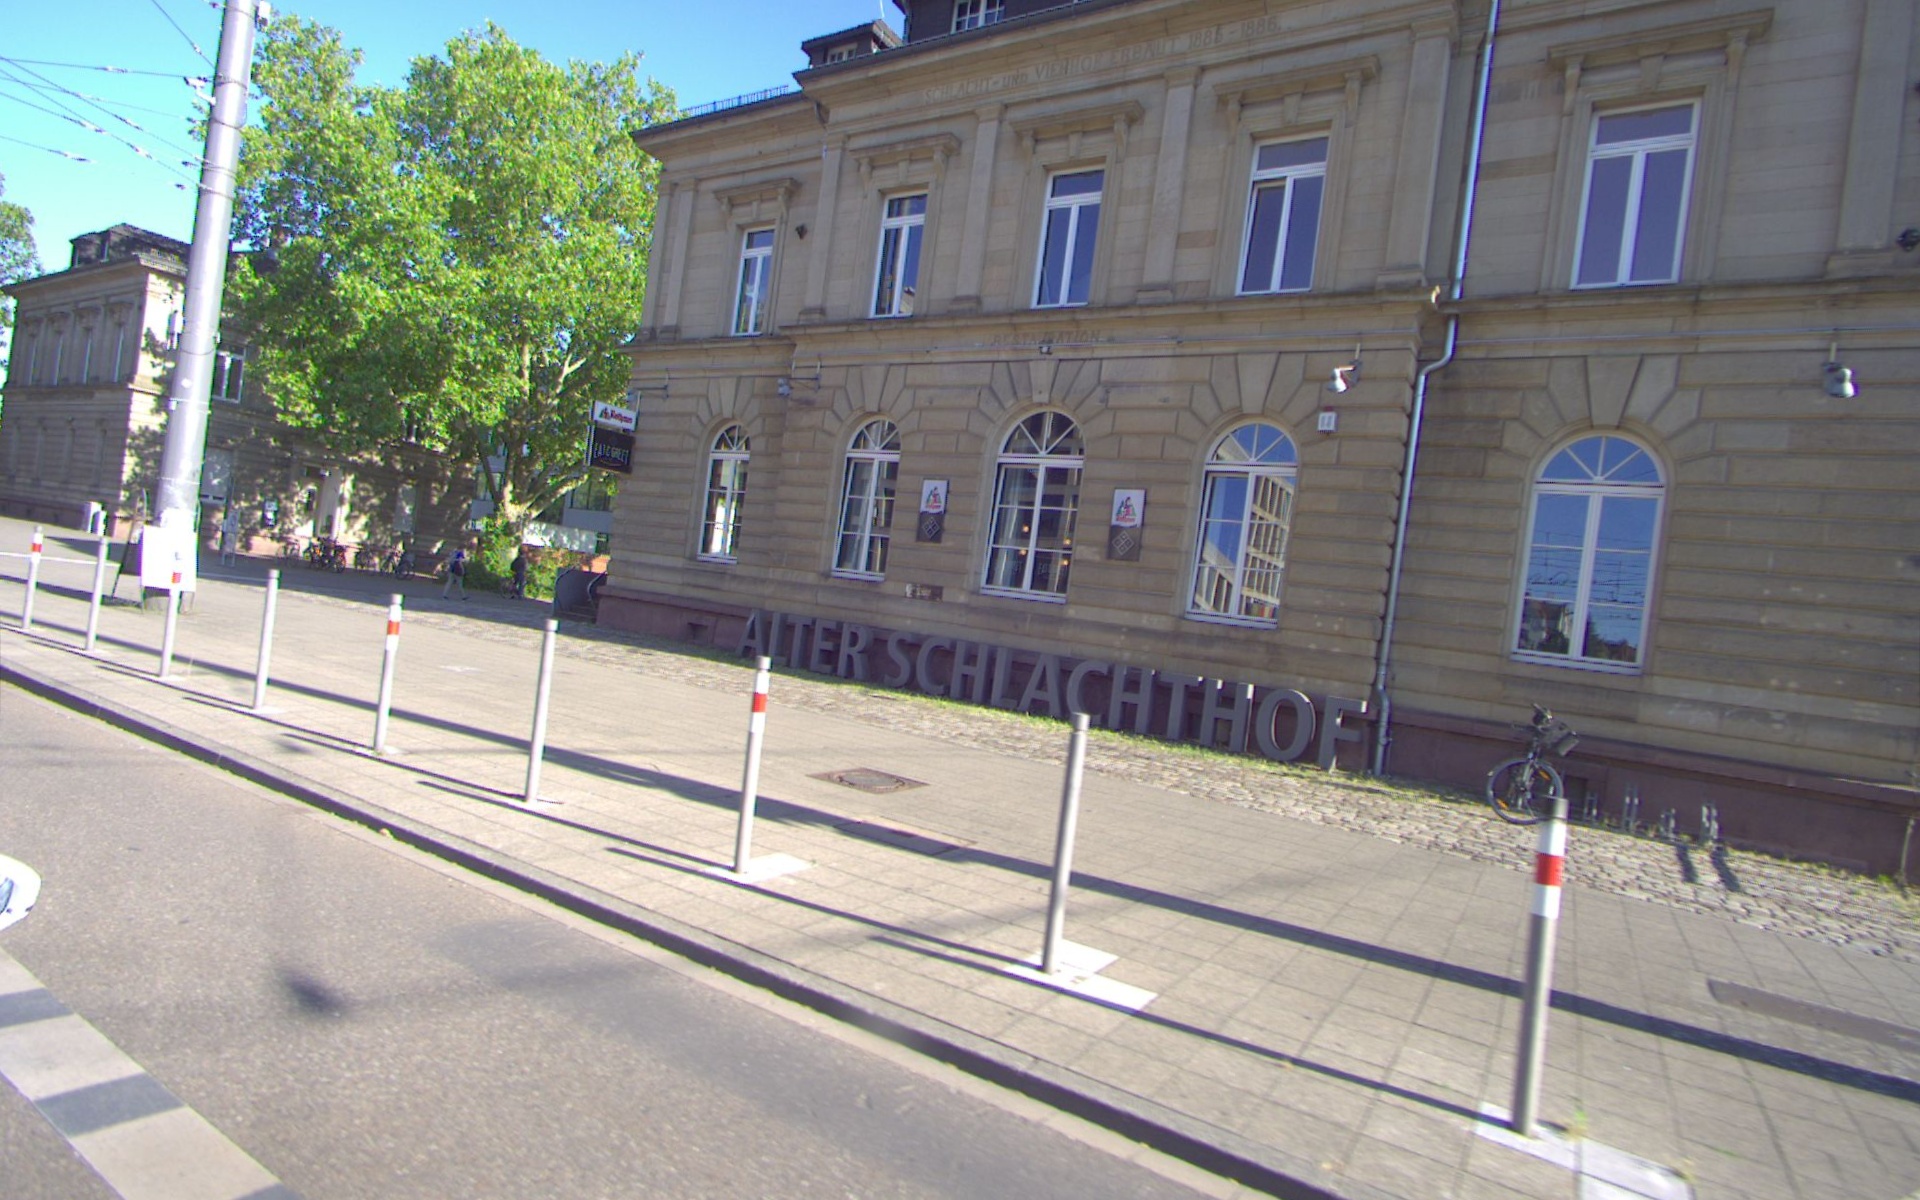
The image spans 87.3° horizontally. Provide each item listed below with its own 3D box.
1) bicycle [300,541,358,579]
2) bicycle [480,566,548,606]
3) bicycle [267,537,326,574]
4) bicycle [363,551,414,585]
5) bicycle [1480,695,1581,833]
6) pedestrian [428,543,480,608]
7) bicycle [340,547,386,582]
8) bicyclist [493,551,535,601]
[{"bbox_3d":[-22.622,-1.436,36.051,2.317,1.060,0.527,7,0,25],"label":"bicycle"},{"bbox_3d":[-16.696,-0.513,37.753,0.811,1.218,2.360,7,-1,20],"label":"bicycle"},{"bbox_3d":[-23.210,-1.560,35.168,2.317,1.060,0.527,7,0,25],"label":"bicycle"},{"bbox_3d":[-21.860,-1.231,38.473,2.192,1.060,0.527,7,0,29],"label":"bicycle"},{"bbox_3d":[6.260,1.717,11.000,0.752,1.224,2.139,7,0,31],"label":"bicycle"},{"bbox_3d":[-16.076,-0.773,31.982,0.811,1.888,0.982,7,0,20],"label":"pedestrian"},{"bbox_3d":[-22.257,-1.337,37.468,2.195,1.060,0.526,7,0,35],"label":"bicycle"},{"bbox_3d":[-16.696,-0.884,37.673,0.811,1.732,0.982,7,0,20],"label":"bicyclist"}]
